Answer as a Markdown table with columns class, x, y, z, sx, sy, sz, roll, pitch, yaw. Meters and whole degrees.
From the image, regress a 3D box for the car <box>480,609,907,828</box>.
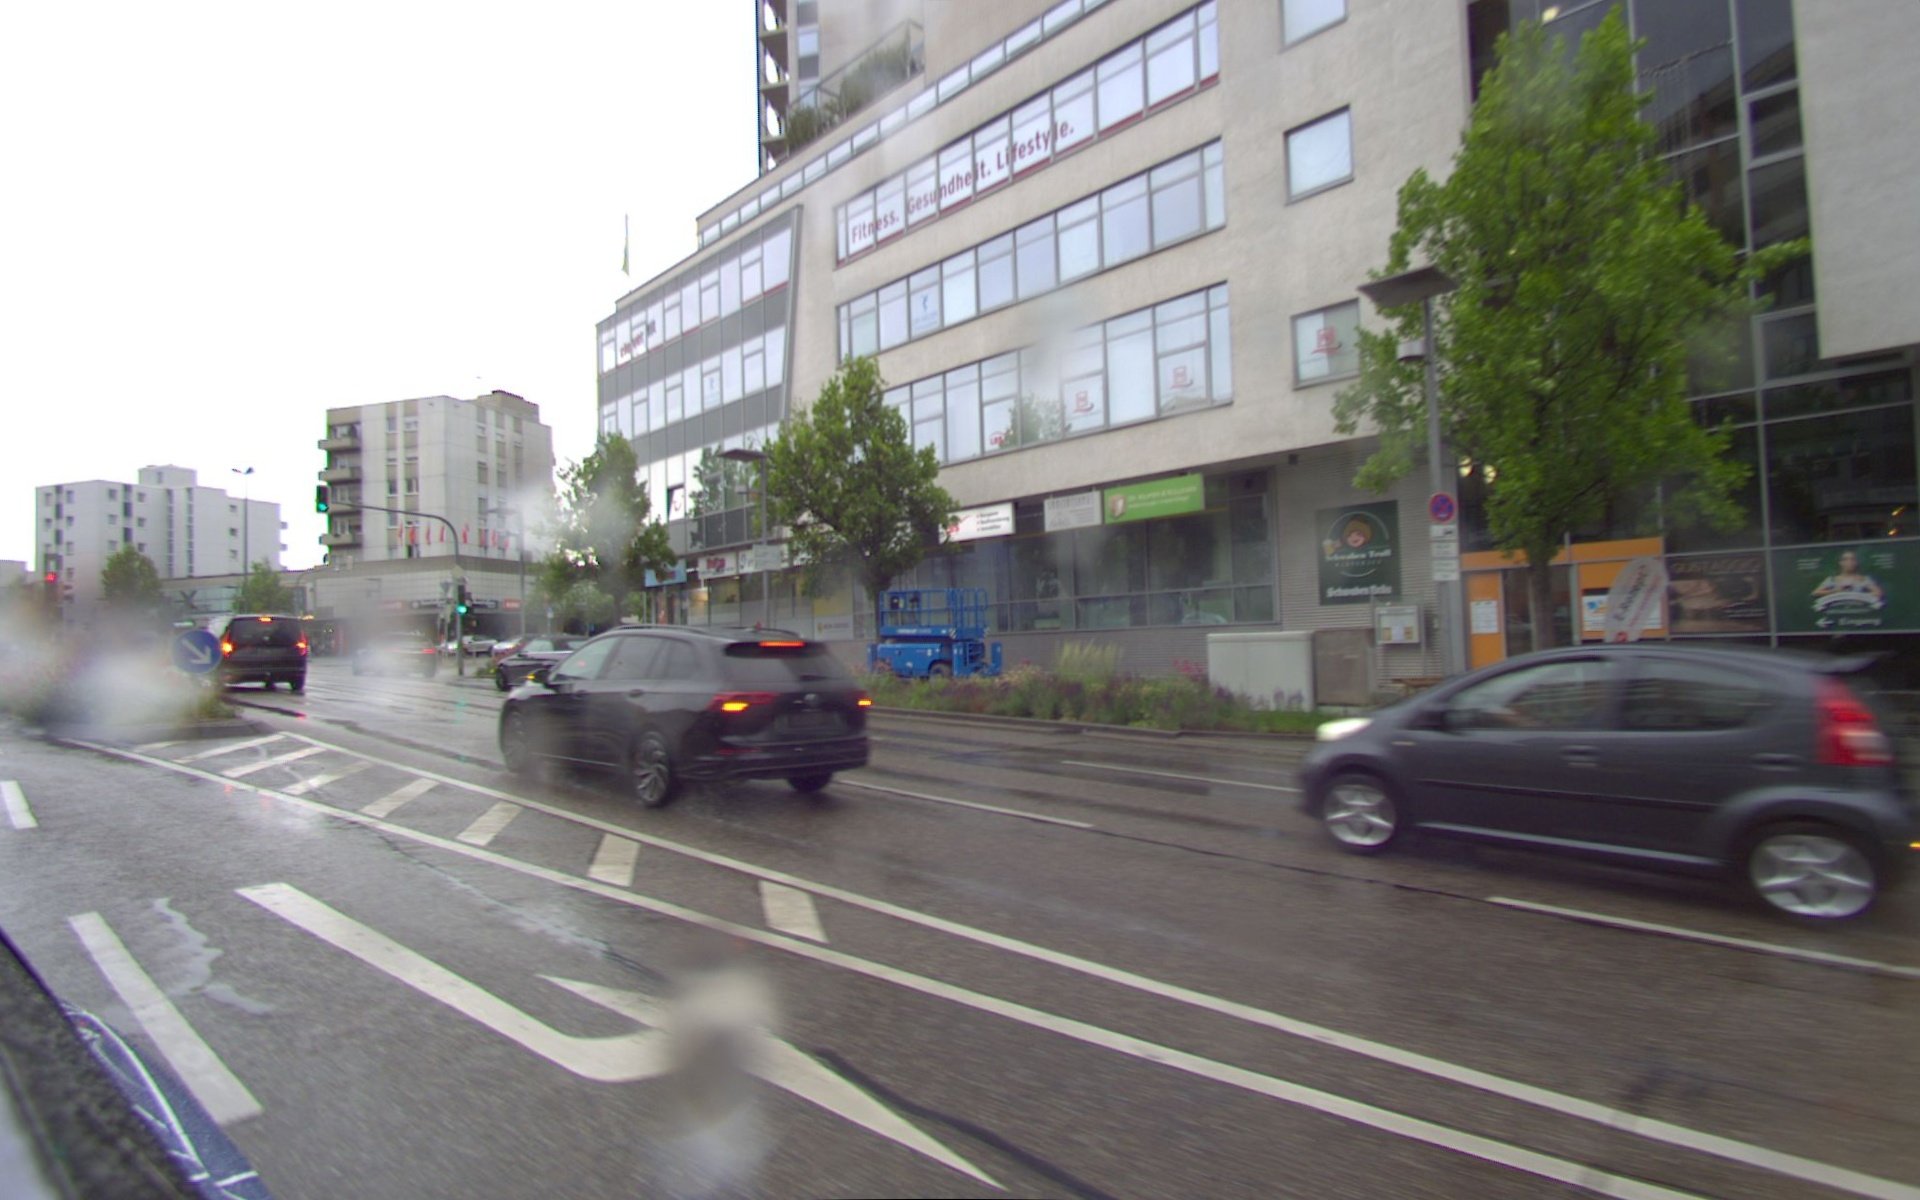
| class | x | y | z | sx | sy | sz | roll | pitch | yaw |
| --- | --- | --- | --- | --- | --- | --- | --- | --- | --- |
| car | -2.611 | 0.892 | 9.231 | 4.391 | 1.528 | 1.688 | -2 | -2 | 43 |

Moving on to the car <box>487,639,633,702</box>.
| class | x | y | z | sx | sy | sz | roll | pitch | yaw |
| --- | --- | --- | --- | --- | --- | --- | --- | --- | --- |
| car | -9.805 | 1.660 | 24.600 | 1.612 | 1.356 | 4.708 | 3 | -3 | -44 |

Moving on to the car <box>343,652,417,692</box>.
| class | x | y | z | sx | sy | sz | roll | pitch | yaw |
| --- | --- | --- | --- | --- | --- | --- | --- | --- | --- |
| car | -25.605 | 3.149 | 44.851 | 1.657 | 1.639 | 4.209 | 1 | -3 | -13 |

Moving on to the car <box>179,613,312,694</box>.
| class | x | y | z | sx | sy | sz | roll | pitch | yaw |
| --- | --- | --- | --- | --- | --- | --- | --- | --- | --- |
| car | -17.434 | 1.269 | 24.632 | 4.001 | 1.804 | 1.842 | -2 | -4 | 44 |

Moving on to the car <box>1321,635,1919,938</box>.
| class | x | y | z | sx | sy | sz | roll | pitch | yaw |
| --- | --- | --- | --- | --- | --- | --- | --- | --- | --- |
| car | 4.109 | 0.918 | 6.140 | 1.547 | 1.386 | 3.284 | 3 | -3 | -44 |

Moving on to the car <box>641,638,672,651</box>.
| class | x | y | z | sx | sy | sz | roll | pitch | yaw |
| --- | --- | --- | --- | --- | --- | --- | --- | --- | --- |
| car | -26.749 | 3.922 | 89.143 | 1.286 | 1.142 | 2.552 | -1 | -2 | 23 |

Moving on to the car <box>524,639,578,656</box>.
| class | x | y | z | sx | sy | sz | roll | pitch | yaw |
| --- | --- | --- | --- | --- | --- | --- | --- | --- | --- |
| car | -29.576 | 3.408 | 73.213 | 1.415 | 1.145 | 3.649 | -1 | -2 | 24 |

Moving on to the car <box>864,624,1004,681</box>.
| class | x | y | z | sx | sy | sz | roll | pitch | yaw |
| --- | --- | --- | --- | --- | --- | --- | --- | --- | --- |
| car | -0.764 | 1.360 | 27.276 | 1.732 | 1.421 | 3.733 | 2 | -2 | -44 |

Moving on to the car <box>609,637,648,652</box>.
| class | x | y | z | sx | sy | sz | roll | pitch | yaw |
| --- | --- | --- | --- | --- | --- | --- | --- | --- | --- |
| car | -27.637 | 3.698 | 84.521 | 1.437 | 1.202 | 3.047 | -1 | -2 | 23 |

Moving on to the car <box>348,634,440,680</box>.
| class | x | y | z | sx | sy | sz | roll | pitch | yaw |
| --- | --- | --- | --- | --- | --- | --- | --- | --- | --- |
| car | -20.399 | 2.014 | 36.400 | 1.893 | 1.560 | 4.005 | 3 | -3 | -44 |
